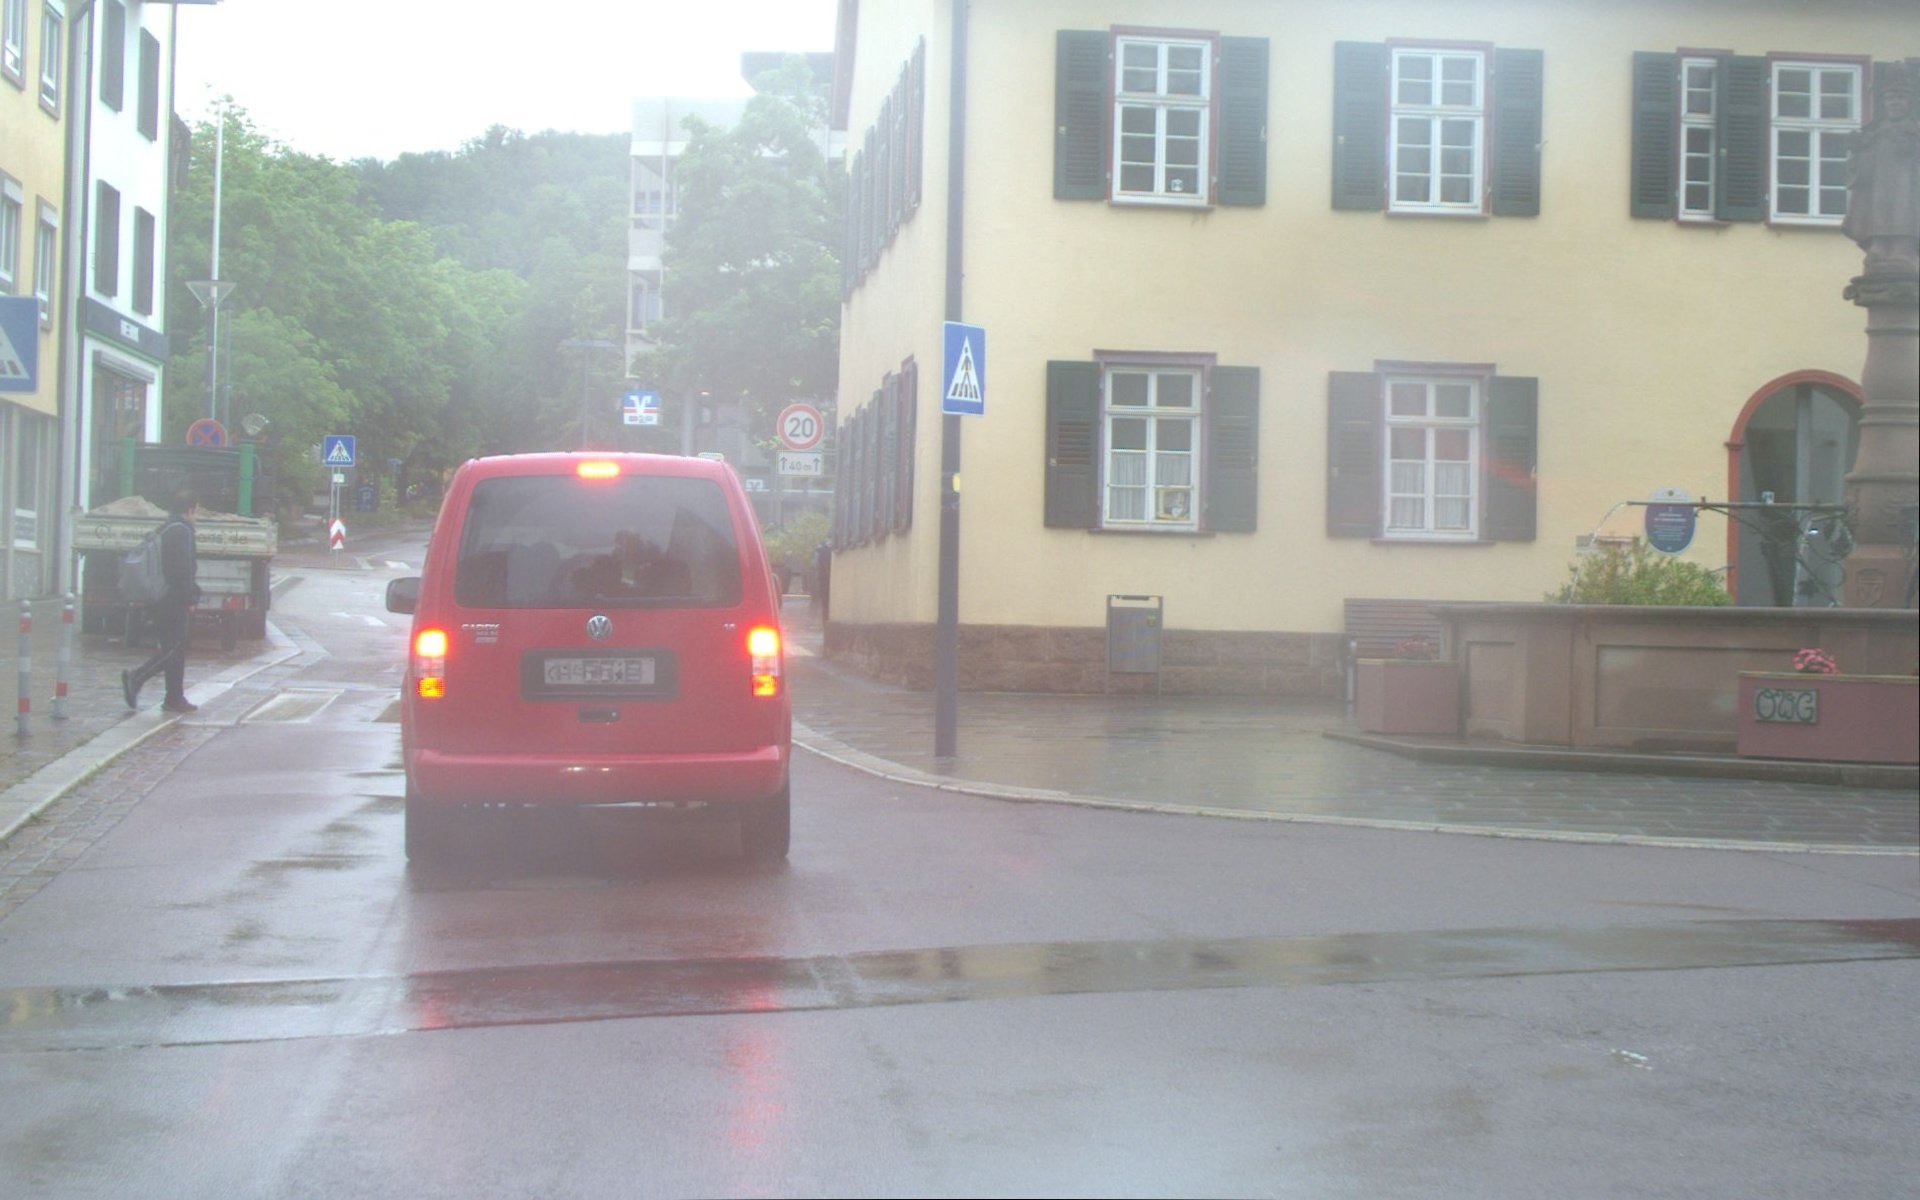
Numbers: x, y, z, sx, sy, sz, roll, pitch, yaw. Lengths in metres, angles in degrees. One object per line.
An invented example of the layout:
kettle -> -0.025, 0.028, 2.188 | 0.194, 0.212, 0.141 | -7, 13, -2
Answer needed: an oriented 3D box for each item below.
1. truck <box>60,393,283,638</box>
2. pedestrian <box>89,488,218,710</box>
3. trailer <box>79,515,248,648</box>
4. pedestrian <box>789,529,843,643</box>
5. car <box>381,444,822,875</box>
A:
truck -> -9.737, -1.089, 42.823 | 2.472, 2.785, 6.602 | 1, 2, -12
pedestrian -> -6.250, -0.015, 26.667 | 0.865, 1.687, 0.716 | 1, 1, -6
trailer -> -8.778, -0.231, 38.058 | 1.727, 1.342, 3.162 | 1, 2, -12
pedestrian -> -2.061, -0.209, 49.171 | 0.728, 1.611, 0.694 | 1, 0, -4
car -> -1.808, 0.219, 16.747 | 1.861, 1.824, 4.186 | 0, 1, -8
